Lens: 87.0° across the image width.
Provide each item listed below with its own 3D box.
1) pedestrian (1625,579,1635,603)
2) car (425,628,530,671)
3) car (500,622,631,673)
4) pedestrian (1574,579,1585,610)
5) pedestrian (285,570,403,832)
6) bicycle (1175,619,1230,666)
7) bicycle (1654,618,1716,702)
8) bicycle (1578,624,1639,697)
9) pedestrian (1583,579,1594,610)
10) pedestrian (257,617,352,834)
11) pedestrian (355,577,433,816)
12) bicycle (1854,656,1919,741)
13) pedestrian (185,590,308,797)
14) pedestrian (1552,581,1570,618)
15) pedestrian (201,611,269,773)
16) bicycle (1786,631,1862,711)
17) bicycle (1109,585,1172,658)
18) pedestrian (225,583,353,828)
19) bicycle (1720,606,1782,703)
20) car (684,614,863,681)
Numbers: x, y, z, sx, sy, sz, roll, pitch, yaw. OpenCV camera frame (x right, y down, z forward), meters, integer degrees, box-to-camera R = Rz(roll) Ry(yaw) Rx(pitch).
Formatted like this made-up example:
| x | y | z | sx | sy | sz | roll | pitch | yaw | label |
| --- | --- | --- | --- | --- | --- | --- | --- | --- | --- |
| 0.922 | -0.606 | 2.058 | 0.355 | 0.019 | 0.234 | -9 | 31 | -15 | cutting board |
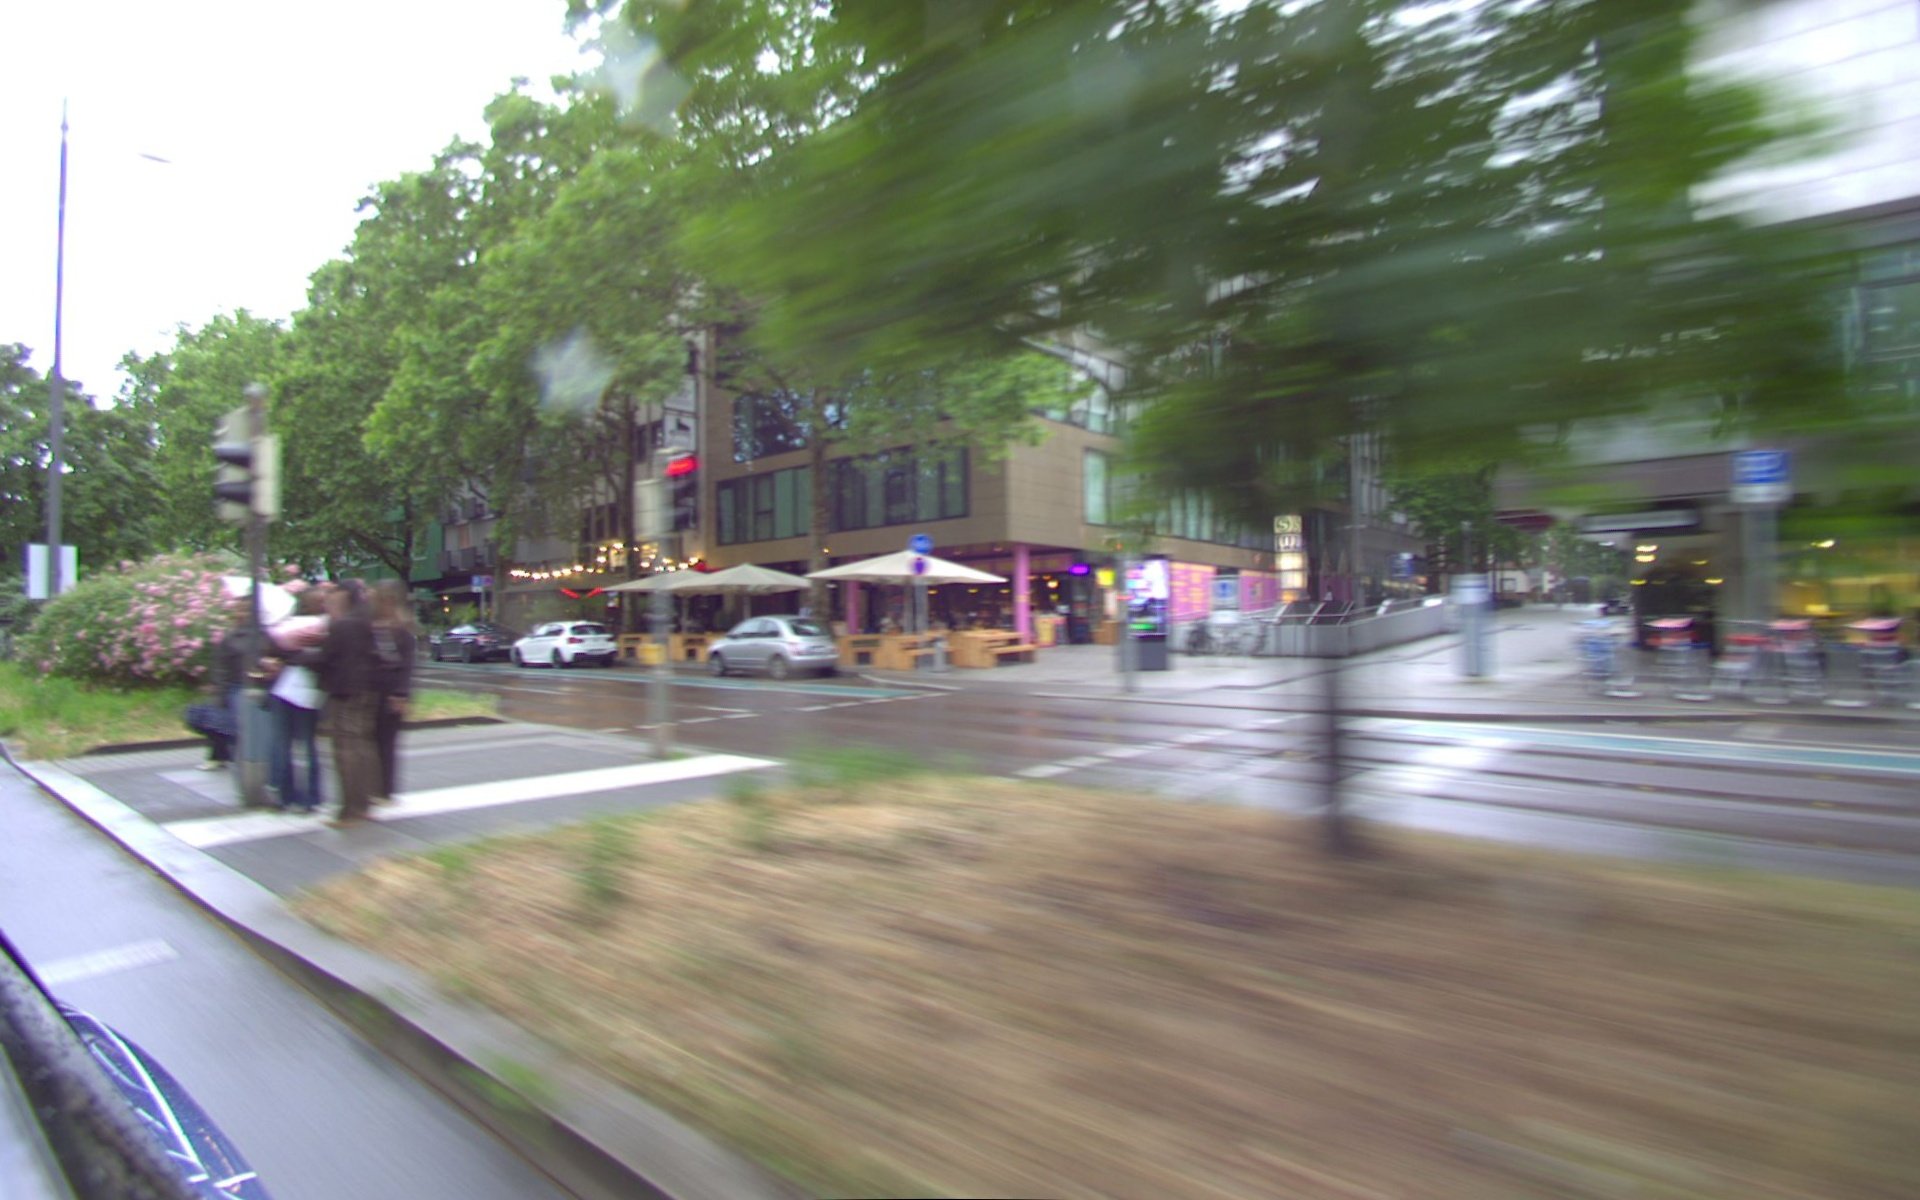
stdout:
| x | y | z | sx | sy | sz | roll | pitch | yaw | label |
| --- | --- | --- | --- | --- | --- | --- | --- | --- | --- |
| 56.245 | -0.772 | 84.944 | 0.583 | 2.029 | 0.654 | -1 | 0 | 42 | pedestrian |
| -17.251 | 1.727 | 36.077 | 4.482 | 1.405 | 1.806 | -2 | -2 | 42 | car |
| -12.470 | 1.467 | 31.835 | 4.538 | 1.380 | 1.973 | -2 | 0 | 42 | car |
| 39.989 | -0.360 | 65.297 | 0.478 | 1.945 | 0.599 | -1 | 0 | 41 | pedestrian |
| -4.235 | 0.667 | 6.977 | 0.402 | 1.711 | 0.569 | -1 | -1 | 29 | pedestrian |
| 6.793 | 1.156 | 28.257 | 0.688 | 1.256 | 2.366 | -2 | -2 | 34 | bicycle |
| 10.255 | 0.816 | 14.359 | 0.613 | 1.106 | 1.829 | -2 | -2 | 33 | bicycle |
| 9.591 | 0.863 | 14.939 | 0.565 | 0.986 | 1.826 | -2 | -2 | 38 | bicycle |
| 40.320 | -0.364 | 64.912 | 0.478 | 1.945 | 0.599 | -1 | 0 | 41 | pedestrian |
| -4.586 | 0.850 | 7.089 | 0.383 | 1.461 | 0.421 | -1 | -1 | 23 | pedestrian |
| -4.254 | 0.703 | 7.617 | 0.324 | 1.733 | 0.396 | -1 | -2 | 27 | pedestrian |
| 11.867 | 1.220 | 12.874 | 0.508 | 0.970 | 1.604 | -2 | -2 | 34 | bicycle |
| -5.963 | 0.755 | 8.476 | 0.600 | 1.654 | 0.609 | -1 | -1 | 19 | pedestrian |
| 33.517 | -0.027 | 56.437 | 0.664 | 2.029 | 0.746 | -1 | 0 | 43 | pedestrian |
| -7.008 | 0.865 | 9.794 | 0.475 | 1.500 | 0.546 | 0 | -2 | -30 | pedestrian |
| 11.419 | 0.914 | 13.408 | 0.564 | 0.986 | 1.451 | -2 | -2 | 33 | bicycle |
| 5.225 | 0.580 | 29.200 | 0.689 | 2.029 | 2.362 | -2 | -1 | 39 | bicycle |
| -4.783 | 0.719 | 7.232 | 0.443 | 1.655 | 0.624 | -1 | -1 | 27 | pedestrian |
| 10.761 | 0.718 | 13.798 | 0.508 | 1.250 | 1.604 | -2 | -2 | 34 | bicycle |
| -4.685 | 1.147 | 25.103 | 4.514 | 1.521 | 1.973 | -2 | -2 | 40 | car |
